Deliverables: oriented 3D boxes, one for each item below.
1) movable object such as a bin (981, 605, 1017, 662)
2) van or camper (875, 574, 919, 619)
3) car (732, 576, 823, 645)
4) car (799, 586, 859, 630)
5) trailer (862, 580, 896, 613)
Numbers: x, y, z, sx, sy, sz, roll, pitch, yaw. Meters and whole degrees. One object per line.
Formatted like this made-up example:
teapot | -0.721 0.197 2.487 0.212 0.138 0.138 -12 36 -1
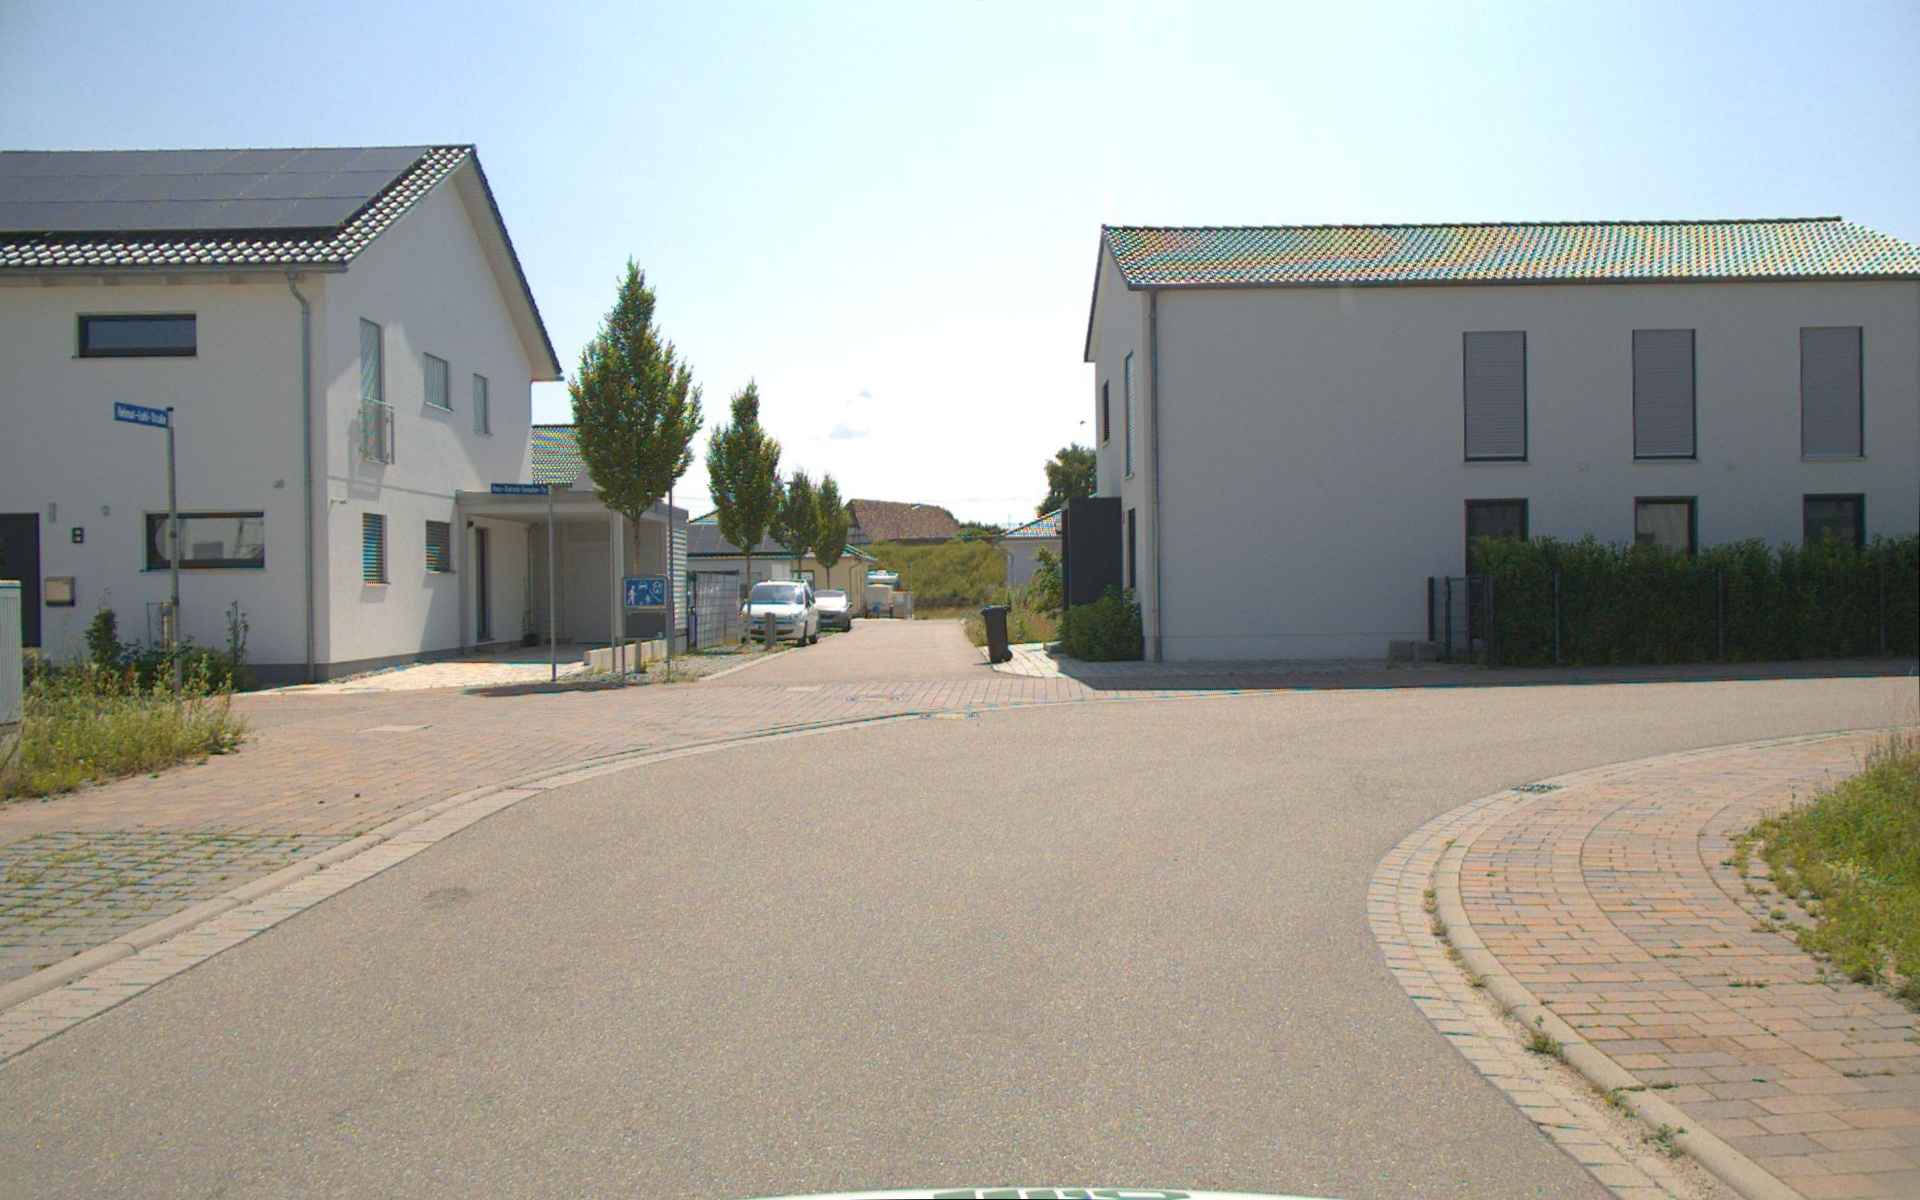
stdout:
movable object such as a bin | 0.686 0.583 29.179 0.587 0.965 0.501 -2 0 0
van or camper | -3.554 -0.175 94.134 2.217 2.453 4.845 1 0 0
car | -5.011 0.287 45.972 1.952 1.821 4.647 1 0 1
car | -5.143 0.321 65.400 1.952 1.642 4.484 1 0 1
trailer | -4.236 -0.178 86.760 1.593 1.642 2.561 1 0 1
